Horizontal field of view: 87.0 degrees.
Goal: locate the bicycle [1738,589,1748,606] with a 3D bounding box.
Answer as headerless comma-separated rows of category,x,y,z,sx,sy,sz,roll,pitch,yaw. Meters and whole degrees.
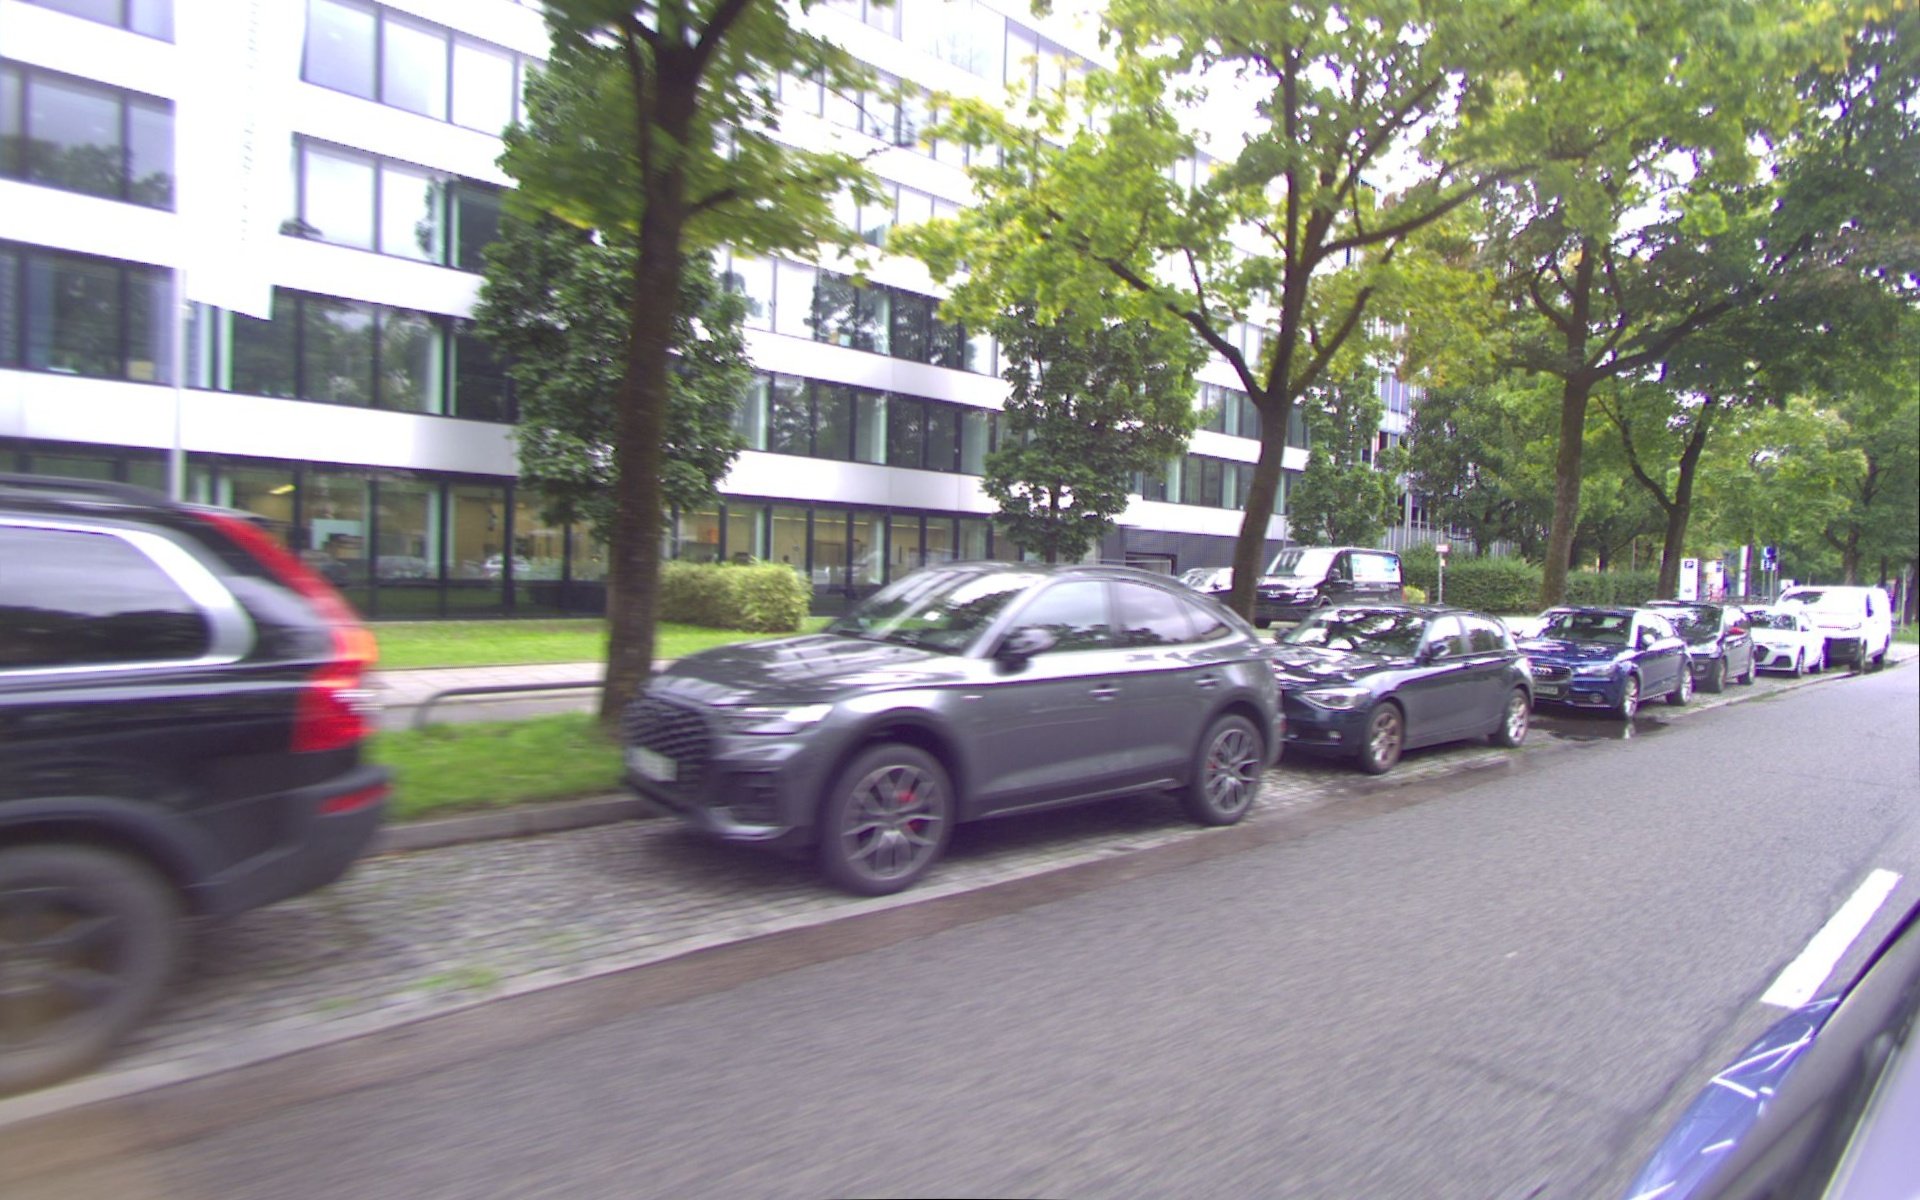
bicycle,57.601,-0.196,74.463,0.510,1.203,2.112,3,2,38

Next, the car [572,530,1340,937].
car,0.256,0.519,6.392,4.712,1.696,1.818,0,3,-39

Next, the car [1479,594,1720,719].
car,9.079,0.690,14.236,4.048,1.438,1.705,0,3,-41

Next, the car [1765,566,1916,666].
car,22.038,0.344,25.233,5.457,2.184,1.992,0,3,-41

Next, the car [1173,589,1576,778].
car,4.256,0.662,10.062,4.430,1.425,1.707,0,3,-38

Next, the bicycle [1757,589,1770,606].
bicycle,58.132,-0.170,73.236,1.922,1.203,0.446,0,2,-44

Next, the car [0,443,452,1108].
car,-4.180,0.433,2.642,4.776,1.822,1.897,0,3,-41

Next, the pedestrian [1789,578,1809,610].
pedestrian,51.720,-0.355,62.409,0.734,1.923,0.654,1,2,-29

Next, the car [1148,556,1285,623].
car,7.742,-0.315,30.320,4.396,1.840,1.845,0,3,-43

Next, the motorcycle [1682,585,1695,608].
motorcycle,43.573,-0.189,60.544,0.546,1.335,2.049,3,2,34

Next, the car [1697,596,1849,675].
car,17.183,0.683,21.331,4.158,1.414,1.705,0,3,-41

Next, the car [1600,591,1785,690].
car,12.850,0.636,17.686,3.908,1.464,1.705,0,3,-41

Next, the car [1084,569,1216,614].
car,6.235,-0.286,33.242,3.882,1.391,1.792,1,1,-22

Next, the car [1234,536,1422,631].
car,10.342,-0.461,28.096,6.161,2.335,2.268,0,3,-43
